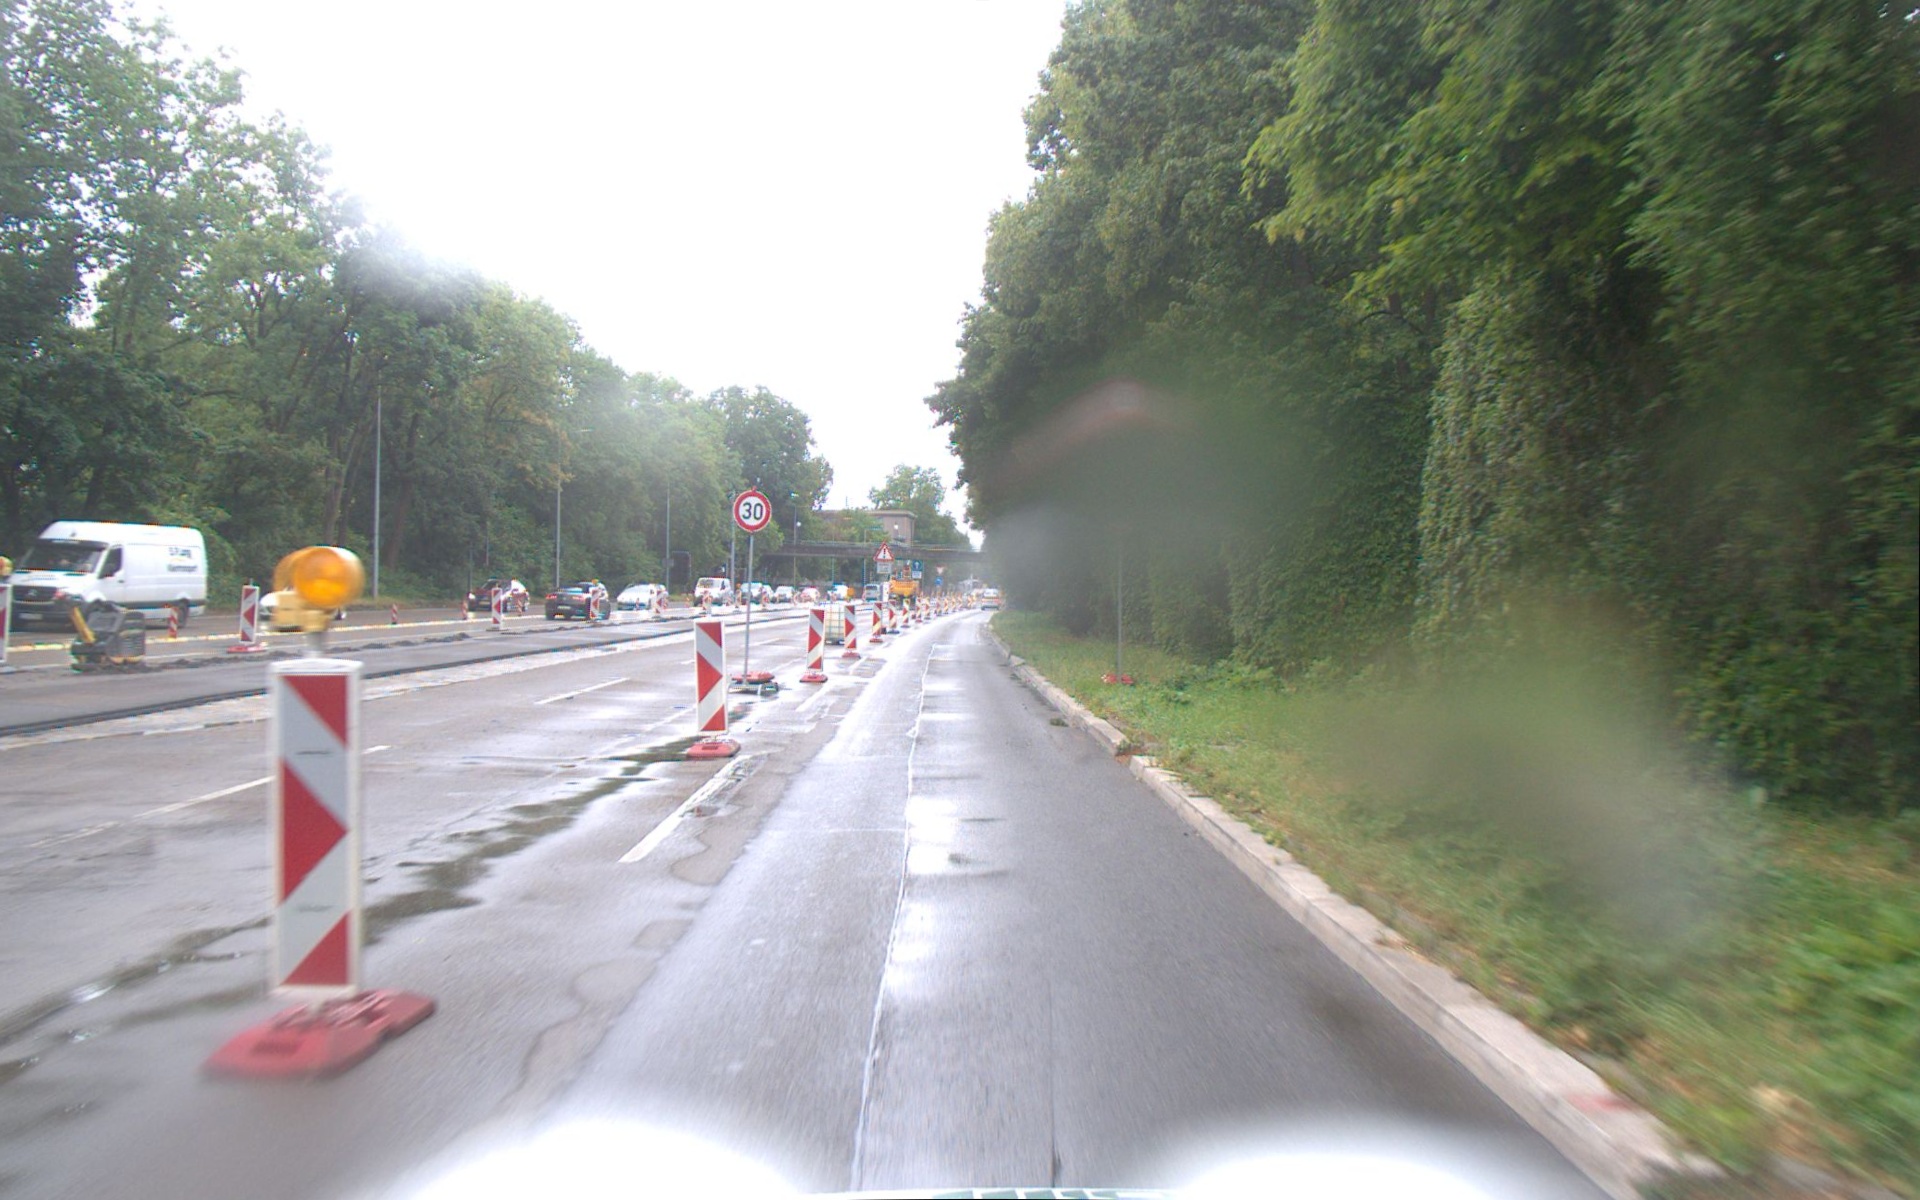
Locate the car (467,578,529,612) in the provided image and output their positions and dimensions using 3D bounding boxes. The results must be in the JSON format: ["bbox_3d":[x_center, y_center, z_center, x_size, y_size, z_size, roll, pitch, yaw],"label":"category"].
[{"bbox_3d":[-21.251,-0.218,76.239,1.635,1.512,4.320,1,0,0],"label":"car"}]

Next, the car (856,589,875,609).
[{"bbox_3d":[-9.556,-0.120,167.492,1.635,1.840,4.320,1,1,0],"label":"car"}]

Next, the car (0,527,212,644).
[{"bbox_3d":[-21.025,-0.341,40.759,2.056,2.625,6.853,1,0,0],"label":"car"}]

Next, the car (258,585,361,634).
[{"bbox_3d":[-21.066,0.282,53.727,1.635,1.512,4.320,1,0,0],"label":"car"}]

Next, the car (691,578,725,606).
[{"bbox_3d":[-17.463,-0.560,114.688,1.635,1.840,4.320,1,0,0],"label":"car"}]

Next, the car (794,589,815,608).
[{"bbox_3d":[-15.491,-0.138,165.207,1.635,1.840,4.320,1,0,0],"label":"car"}]

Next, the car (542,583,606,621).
[{"bbox_3d":[-15.350,0.066,65.893,1.574,1.429,4.041,1,0,0],"label":"car"}]

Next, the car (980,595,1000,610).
[{"bbox_3d":[2.847,0.247,157.757,1.663,1.359,3.490,-2,0,-2],"label":"car"}]

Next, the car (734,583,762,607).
[{"bbox_3d":[-16.831,-0.401,131.595,1.635,1.840,4.320,1,0,0],"label":"car"}]

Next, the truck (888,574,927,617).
[{"bbox_3d":[-4.531,-0.424,145.568,3.193,3.558,13.867,1,0,-1],"label":"truck"}]

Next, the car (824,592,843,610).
[{"bbox_3d":[-13.903,0.107,181.831,1.635,1.840,4.320,1,0,0],"label":"car"}]

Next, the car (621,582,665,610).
[{"bbox_3d":[-17.835,-0.241,93.125,1.635,1.512,4.320,1,0,0],"label":"car"}]

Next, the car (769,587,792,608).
[{"bbox_3d":[-16.245,-0.221,149.701,1.635,1.840,4.320,1,0,0],"label":"car"}]
